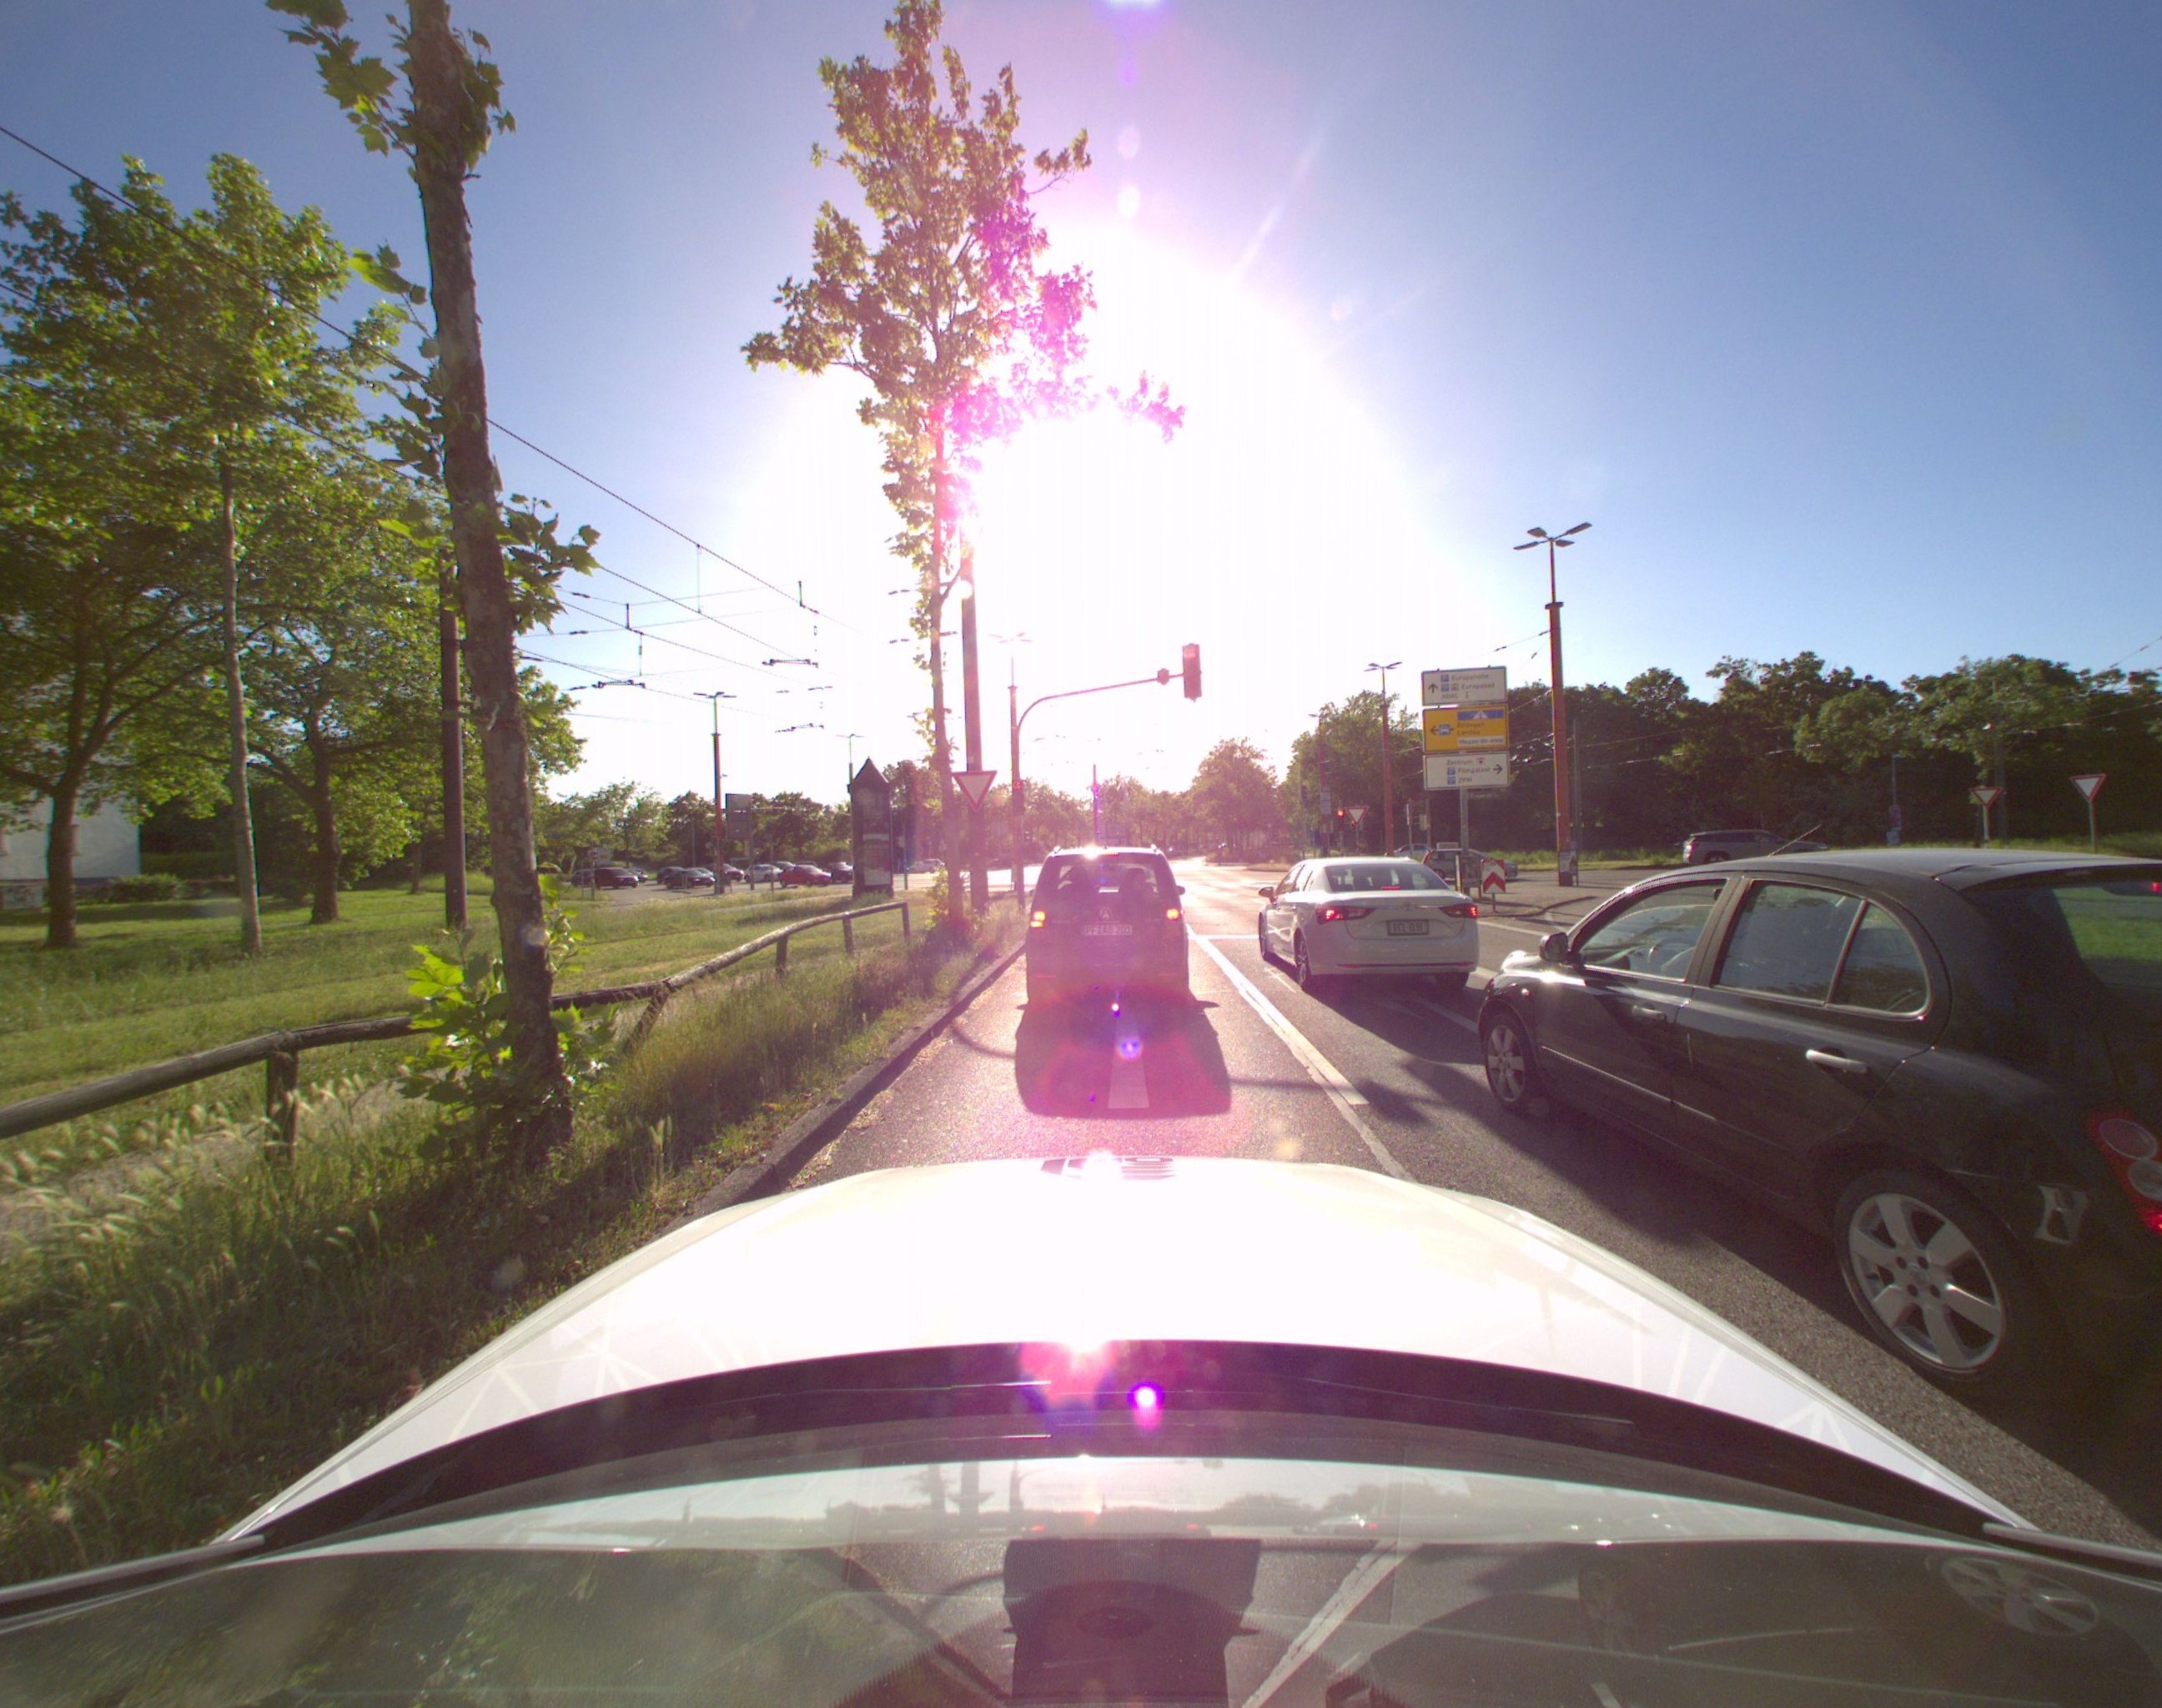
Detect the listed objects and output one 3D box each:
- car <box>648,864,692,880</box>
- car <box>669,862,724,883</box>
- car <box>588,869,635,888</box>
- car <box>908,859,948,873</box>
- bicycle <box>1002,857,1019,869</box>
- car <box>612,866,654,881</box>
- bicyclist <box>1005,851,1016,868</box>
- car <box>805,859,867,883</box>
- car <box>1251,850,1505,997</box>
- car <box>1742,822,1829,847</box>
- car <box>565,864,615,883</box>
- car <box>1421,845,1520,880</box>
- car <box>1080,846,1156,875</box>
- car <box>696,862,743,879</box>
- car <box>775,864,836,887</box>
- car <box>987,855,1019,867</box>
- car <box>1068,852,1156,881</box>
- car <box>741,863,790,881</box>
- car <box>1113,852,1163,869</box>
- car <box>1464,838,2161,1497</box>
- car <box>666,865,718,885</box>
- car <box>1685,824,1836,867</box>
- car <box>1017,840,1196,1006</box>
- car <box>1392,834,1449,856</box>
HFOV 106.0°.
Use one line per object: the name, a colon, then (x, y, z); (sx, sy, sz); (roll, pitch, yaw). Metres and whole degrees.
car: (-38.205, 1.669, 75.704); (4.102, 1.415, 1.553); (-1, 0, 28)
car: (-32.620, 1.585, 69.089); (4.585, 1.647, 1.767); (-1, 0, 26)
car: (-39.734, 2.035, 68.891); (4.145, 1.520, 1.667); (-1, 0, 32)
car: (-16.046, 1.239, 85.142); (3.877, 1.457, 1.667); (-1, 0, 28)
bicycle: (-8.182, 1.046, 94.738); (0.969, 1.388, 2.991); (-2, 0, 15)
car: (-43.159, 1.867, 78.485); (4.102, 1.415, 1.553); (-1, 0, 28)
bicyclist: (-8.182, 0.658, 94.780); (0.969, 1.904, 1.055); (-2, 0, 14)
car: (-18.274, 1.258, 60.669); (4.583, 1.647, 1.767); (-1, 0, 32)
car: (3.368, 0.708, 10.188); (1.792, 1.440, 4.329); (0, -1, 3)
car: (43.847, -1.183, 50.746); (3.758, 1.403, 1.665); (-1, 0, 22)
car: (-45.804, 1.841, 76.004); (4.585, 1.647, 1.767); (-1, 0, 26)
car: (17.158, 0.375, 35.911); (3.793, 1.441, 1.667); (-1, 0, 29)
car: (2.212, 0.411, 48.932); (4.285, 1.692, 1.667); (-1, 0, 34)
car: (-32.026, 1.462, 72.098); (4.102, 1.415, 1.553); (-1, 0, 28)
car: (-19.184, 1.508, 56.723); (4.146, 1.520, 1.667); (-1, 0, 29)
car: (-9.931, 0.874, 104.021); (1.635, 1.457, 3.952); (-1, 0, 40)
car: (1.673, 0.694, 44.937); (4.578, 1.520, 1.667); (-1, 0, 29)
car: (-26.840, 1.525, 69.185); (4.102, 1.415, 1.553); (-1, 0, 28)
car: (5.128, 0.576, 72.895); (4.098, 1.510, 1.666); (-1, 0, 24)
car: (3.175, 0.694, 3.490); (1.570, 1.440, 3.443); (0, -1, 2)
car: (-30.646, 1.656, 64.092); (4.145, 1.520, 1.667); (-1, 0, 32)
car: (27.834, -0.310, 33.571); (4.583, 1.647, 1.667); (-1, 0, 32)
car: (0.361, 0.688, 10.083); (1.731, 1.602, 4.329); (0, -1, 3)
car: (25.721, -0.678, 61.740); (3.755, 1.510, 1.667); (-1, 0, 30)
